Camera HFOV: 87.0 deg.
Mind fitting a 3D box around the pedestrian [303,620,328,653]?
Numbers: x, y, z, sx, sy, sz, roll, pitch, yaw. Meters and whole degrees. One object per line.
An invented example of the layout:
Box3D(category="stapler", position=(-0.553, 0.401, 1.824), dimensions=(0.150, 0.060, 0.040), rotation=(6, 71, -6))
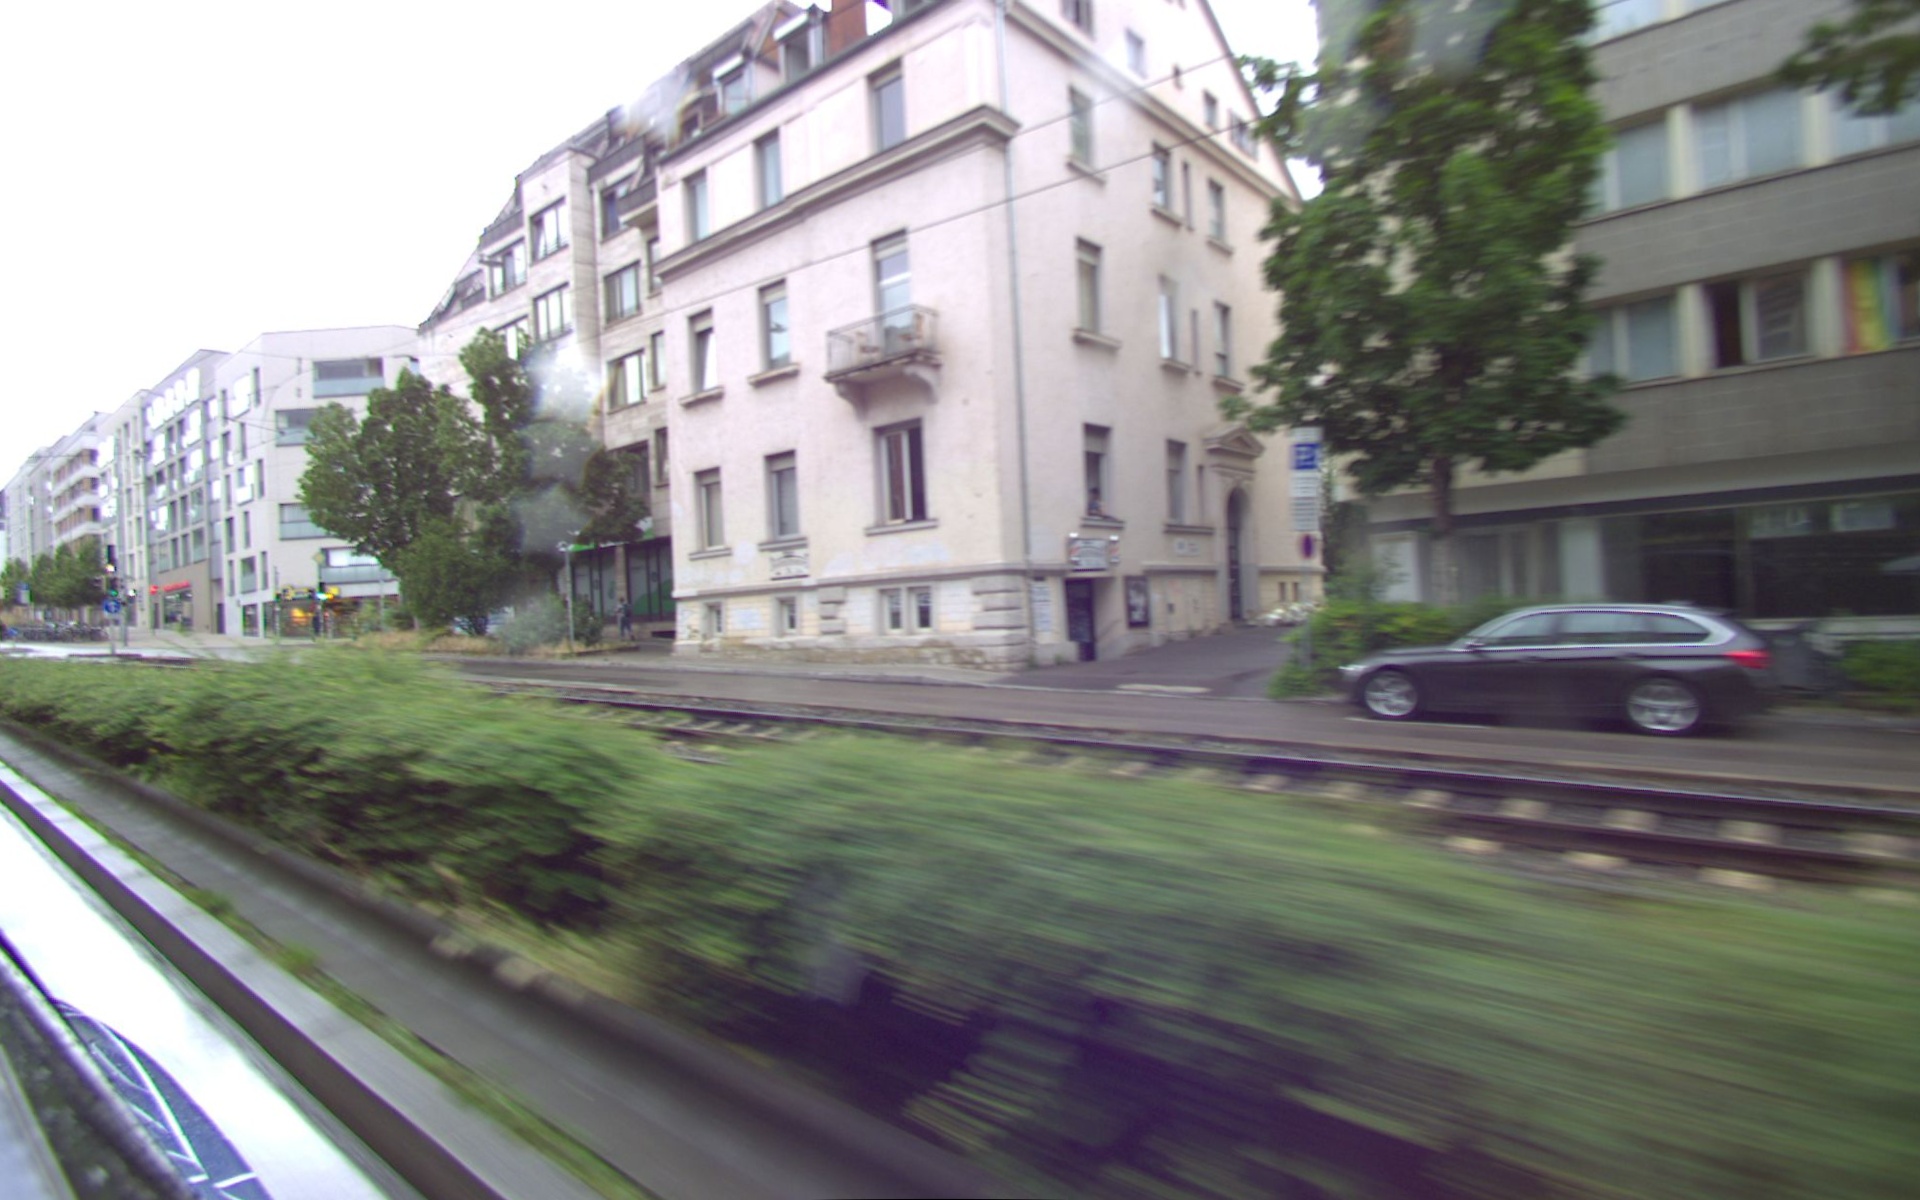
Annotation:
Box3D(category="pedestrian", position=(-37.034, 2.086, 58.158), dimensions=(0.956, 1.843, 0.923), rotation=(0, 0, 32))

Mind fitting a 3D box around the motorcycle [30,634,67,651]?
Box3D(category="motorcycle", position=(-60.354, 2.801, 66.999), dimensions=(0.540, 1.050, 1.748), rotation=(1, 1, 26))

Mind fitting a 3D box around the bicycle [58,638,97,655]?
Box3D(category="bicycle", position=(-54.102, 2.832, 62.062), dimensions=(0.385, 0.883, 1.773), rotation=(0, 2, 28))

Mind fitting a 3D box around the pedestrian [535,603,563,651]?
Box3D(category="pedestrian", position=(-15.380, 0.997, 37.869), dimensions=(0.683, 1.737, 0.641), rotation=(0, 3, 39))

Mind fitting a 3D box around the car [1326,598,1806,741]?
Box3D(category="car", position=(7.020, 0.687, 12.083), dimensions=(4.718, 1.388, 1.676), rotation=(0, -1, 41))

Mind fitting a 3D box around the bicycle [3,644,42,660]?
Box3D(category="bicycle", position=(-58.765, 3.250, 63.453), dimensions=(0.385, 0.924, 1.774), rotation=(0, 1, 25))

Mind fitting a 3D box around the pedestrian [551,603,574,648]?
Box3D(category="pedestrian", position=(-14.716, 0.940, 37.437), dimensions=(0.585, 1.609, 0.499), rotation=(0, 3, 38))

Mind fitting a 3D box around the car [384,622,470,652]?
Box3D(category="car", position=(-27.959, 1.912, 53.185), dimensions=(1.592, 1.327, 3.658), rotation=(0, 1, 38))

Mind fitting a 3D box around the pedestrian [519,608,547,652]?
Box3D(category="pedestrian", position=(-15.760, 1.113, 37.343), dimensions=(0.683, 1.560, 0.641), rotation=(0, 3, 39))

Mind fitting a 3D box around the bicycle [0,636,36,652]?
Box3D(category="bicycle", position=(-59.636, 2.777, 63.983), dimensions=(0.385, 0.924, 1.774), rotation=(0, 1, 25))

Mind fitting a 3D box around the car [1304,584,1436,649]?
Box3D(category="car", position=(10.223, 0.354, 25.066), dimensions=(1.859, 1.428, 4.374), rotation=(-1, 1, 39))

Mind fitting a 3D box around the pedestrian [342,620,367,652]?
Box3D(category="pedestrian", position=(-30.488, 1.810, 50.953), dimensions=(0.767, 1.580, 0.648), rotation=(-1, 2, 3))

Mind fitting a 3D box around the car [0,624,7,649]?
Box3D(category="car", position=(-64.119, 2.389, 65.961), dimensions=(4.311, 1.615, 1.669), rotation=(0, 2, 30))

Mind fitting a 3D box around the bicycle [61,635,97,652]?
Box3D(category="bicycle", position=(-54.675, 2.715, 62.816), dimensions=(0.383, 0.924, 1.784), rotation=(-1, 2, 10))

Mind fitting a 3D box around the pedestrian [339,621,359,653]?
Box3D(category="pedestrian", position=(-33.816, 2.045, 56.023), dimensions=(0.580, 1.723, 0.702), rotation=(-1, 1, 16))

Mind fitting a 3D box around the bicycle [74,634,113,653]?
Box3D(category="bicycle", position=(-52.900, 2.645, 61.803), dimensions=(0.438, 0.987, 1.774), rotation=(0, 2, 25))
